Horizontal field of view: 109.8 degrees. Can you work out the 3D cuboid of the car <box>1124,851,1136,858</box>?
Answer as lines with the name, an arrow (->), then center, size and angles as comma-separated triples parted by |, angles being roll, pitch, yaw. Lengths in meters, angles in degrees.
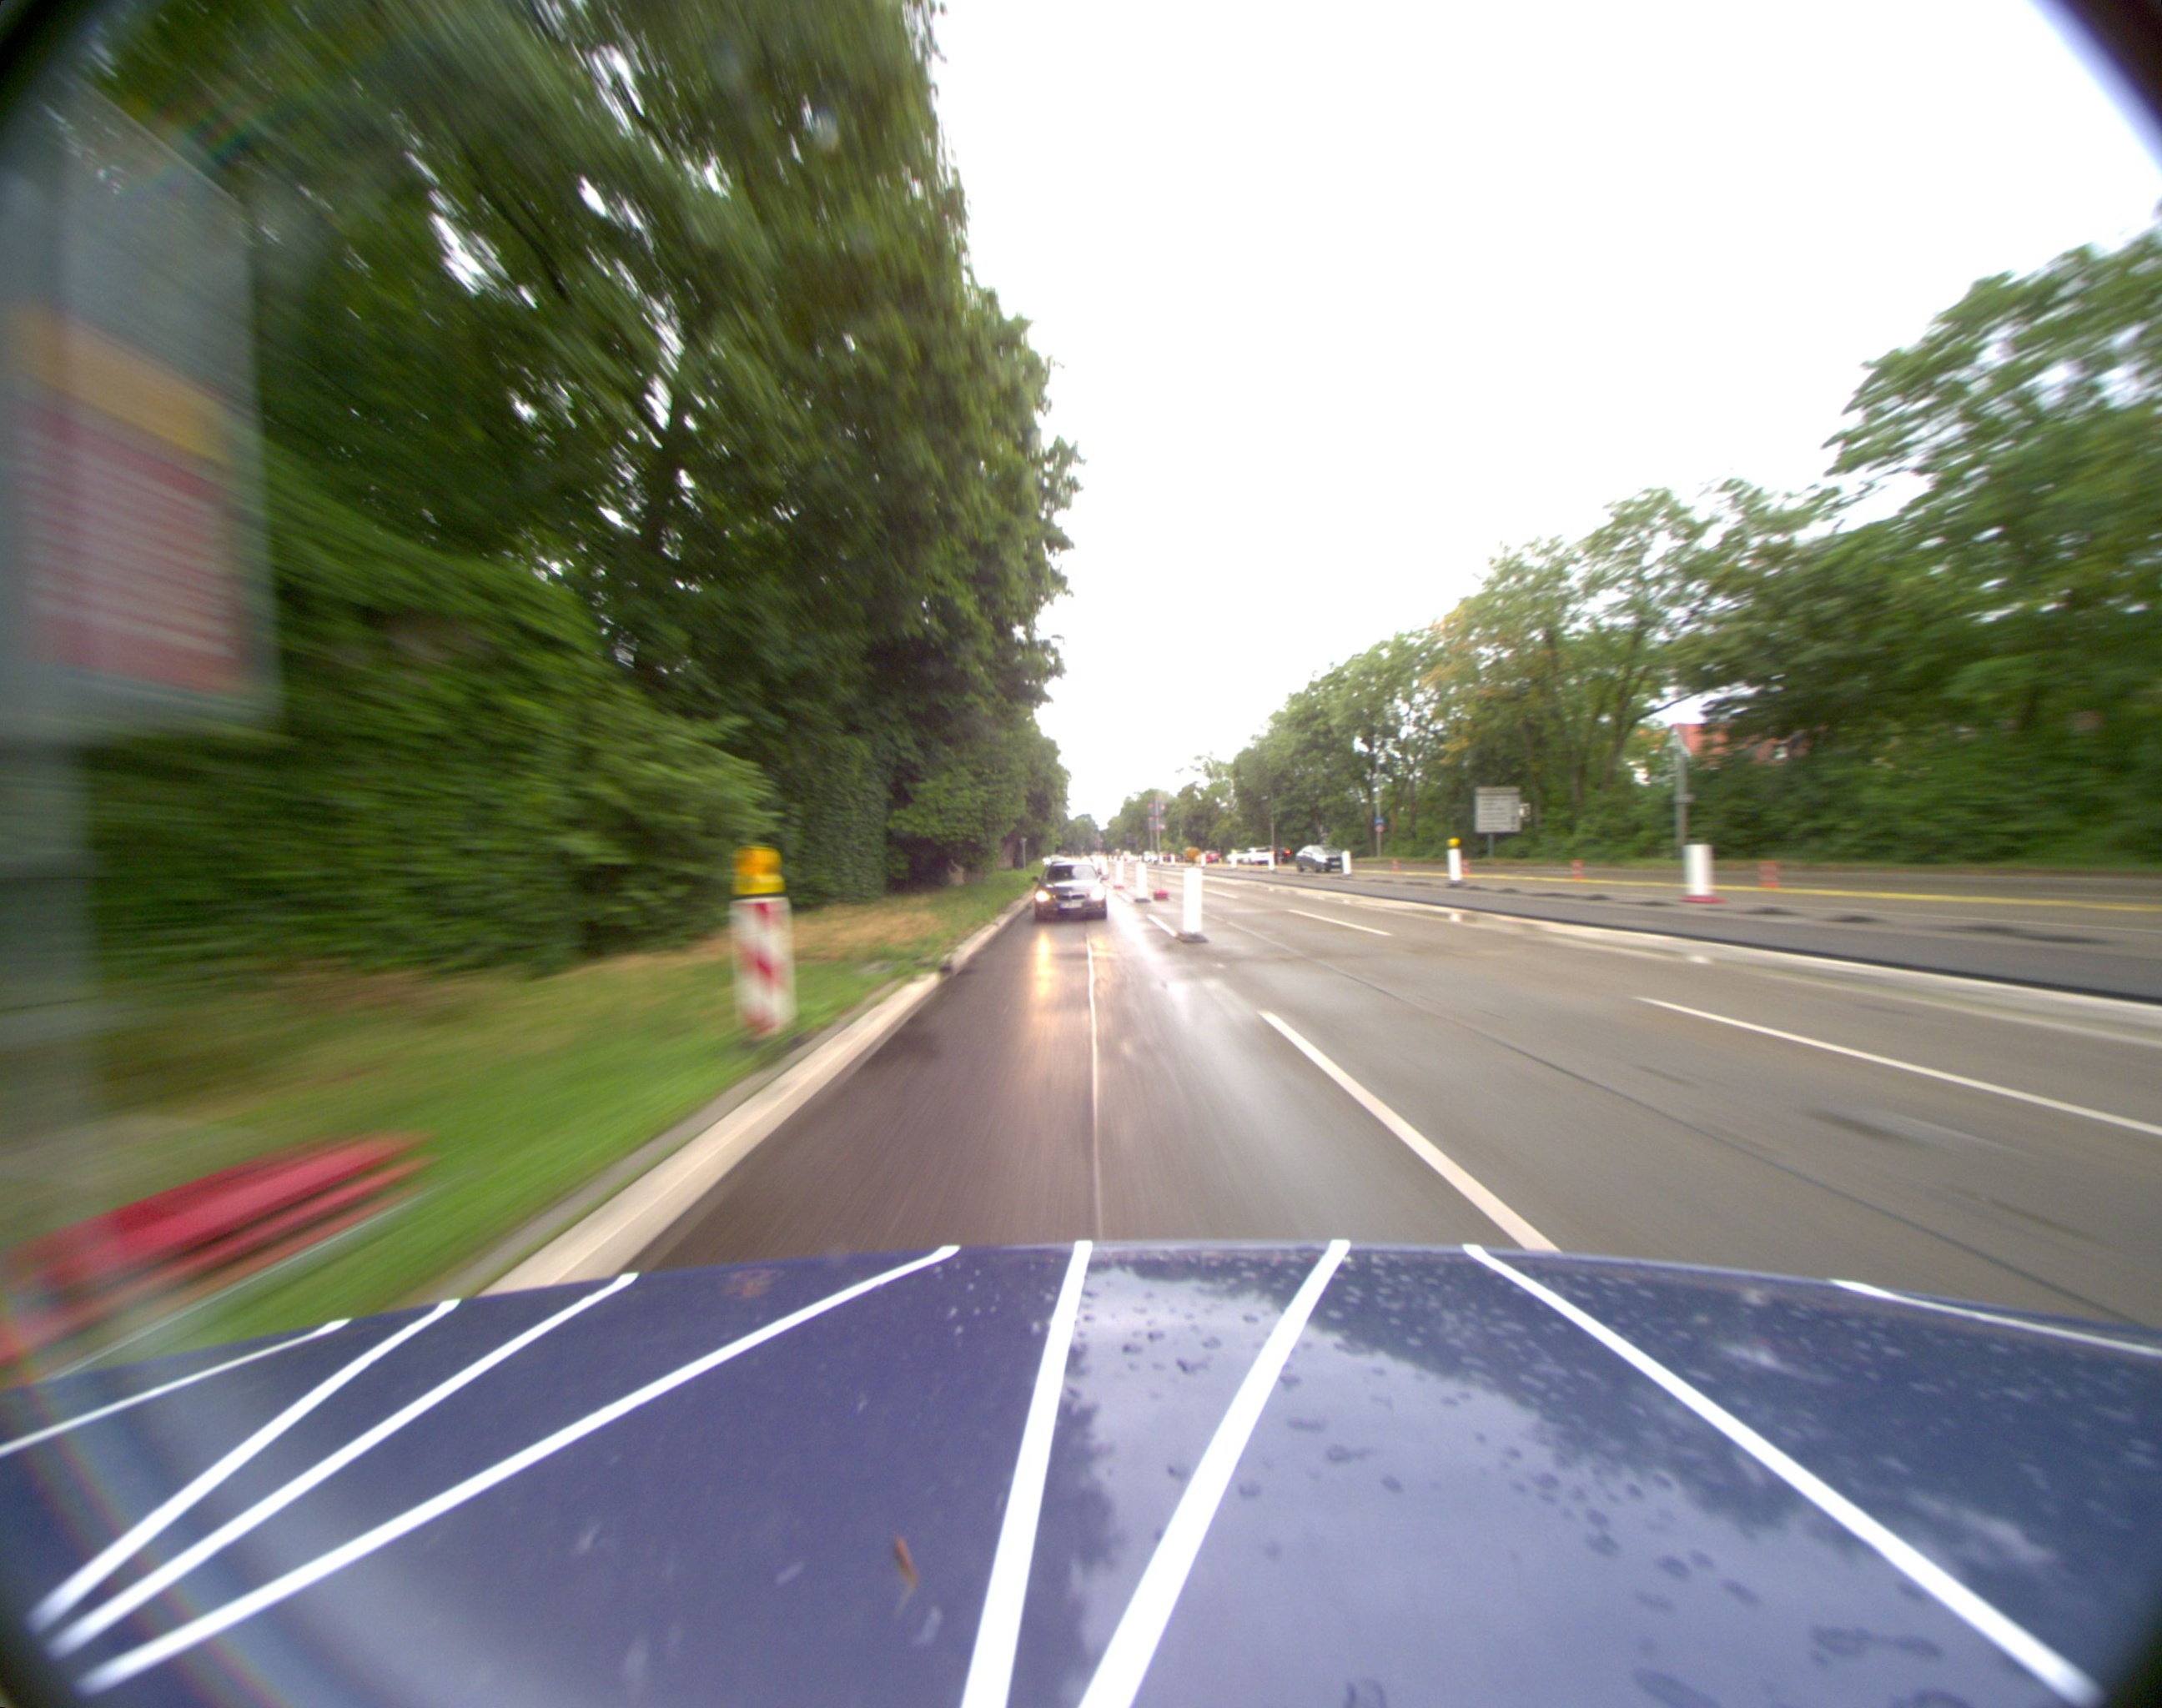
car -> 10.898, 0.132, 169.474 | 1.999, 1.408, 4.389 | -1, 2, -5

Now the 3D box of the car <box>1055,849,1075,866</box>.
car -> -1.682, 0.325, 80.813 | 1.999, 1.707, 3.999 | -1, 1, -1

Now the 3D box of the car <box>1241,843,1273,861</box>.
car -> 17.153, -0.177, 74.256 | 1.895, 1.651, 4.892 | -2, 0, -2

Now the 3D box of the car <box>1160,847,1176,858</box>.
car -> 14.745, -0.236, 128.752 | 2.027, 1.715, 5.011 | -3, 0, -1

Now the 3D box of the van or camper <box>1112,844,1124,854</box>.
van or camper -> 11.811, -1.671, 240.684 | 2.305, 3.045, 7.446 | -2, 1, -8

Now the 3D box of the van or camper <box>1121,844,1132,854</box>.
van or camper -> 12.565, -1.279, 209.819 | 1.999, 2.540, 7.727 | -3, 0, -2

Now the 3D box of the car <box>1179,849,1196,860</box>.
car -> 15.527, 0.032, 111.081 | 1.781, 1.479, 4.195 | -2, 0, -2

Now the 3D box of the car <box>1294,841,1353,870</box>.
car -> 14.720, 0.054, 46.411 | 1.998, 1.619, 4.811 | -2, 1, 0

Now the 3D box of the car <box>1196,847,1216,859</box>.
car -> 16.058, -0.139, 97.770 | 1.683, 1.392, 4.012 | -2, 0, -1

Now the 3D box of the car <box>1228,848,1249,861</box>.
car -> 19.237, 0.080, 93.019 | 1.683, 1.487, 4.148 | -1, 0, -1

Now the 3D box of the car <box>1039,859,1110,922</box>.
car -> -0.265, 0.881, 20.028 | 1.658, 1.409, 4.127 | -1, 0, -3
